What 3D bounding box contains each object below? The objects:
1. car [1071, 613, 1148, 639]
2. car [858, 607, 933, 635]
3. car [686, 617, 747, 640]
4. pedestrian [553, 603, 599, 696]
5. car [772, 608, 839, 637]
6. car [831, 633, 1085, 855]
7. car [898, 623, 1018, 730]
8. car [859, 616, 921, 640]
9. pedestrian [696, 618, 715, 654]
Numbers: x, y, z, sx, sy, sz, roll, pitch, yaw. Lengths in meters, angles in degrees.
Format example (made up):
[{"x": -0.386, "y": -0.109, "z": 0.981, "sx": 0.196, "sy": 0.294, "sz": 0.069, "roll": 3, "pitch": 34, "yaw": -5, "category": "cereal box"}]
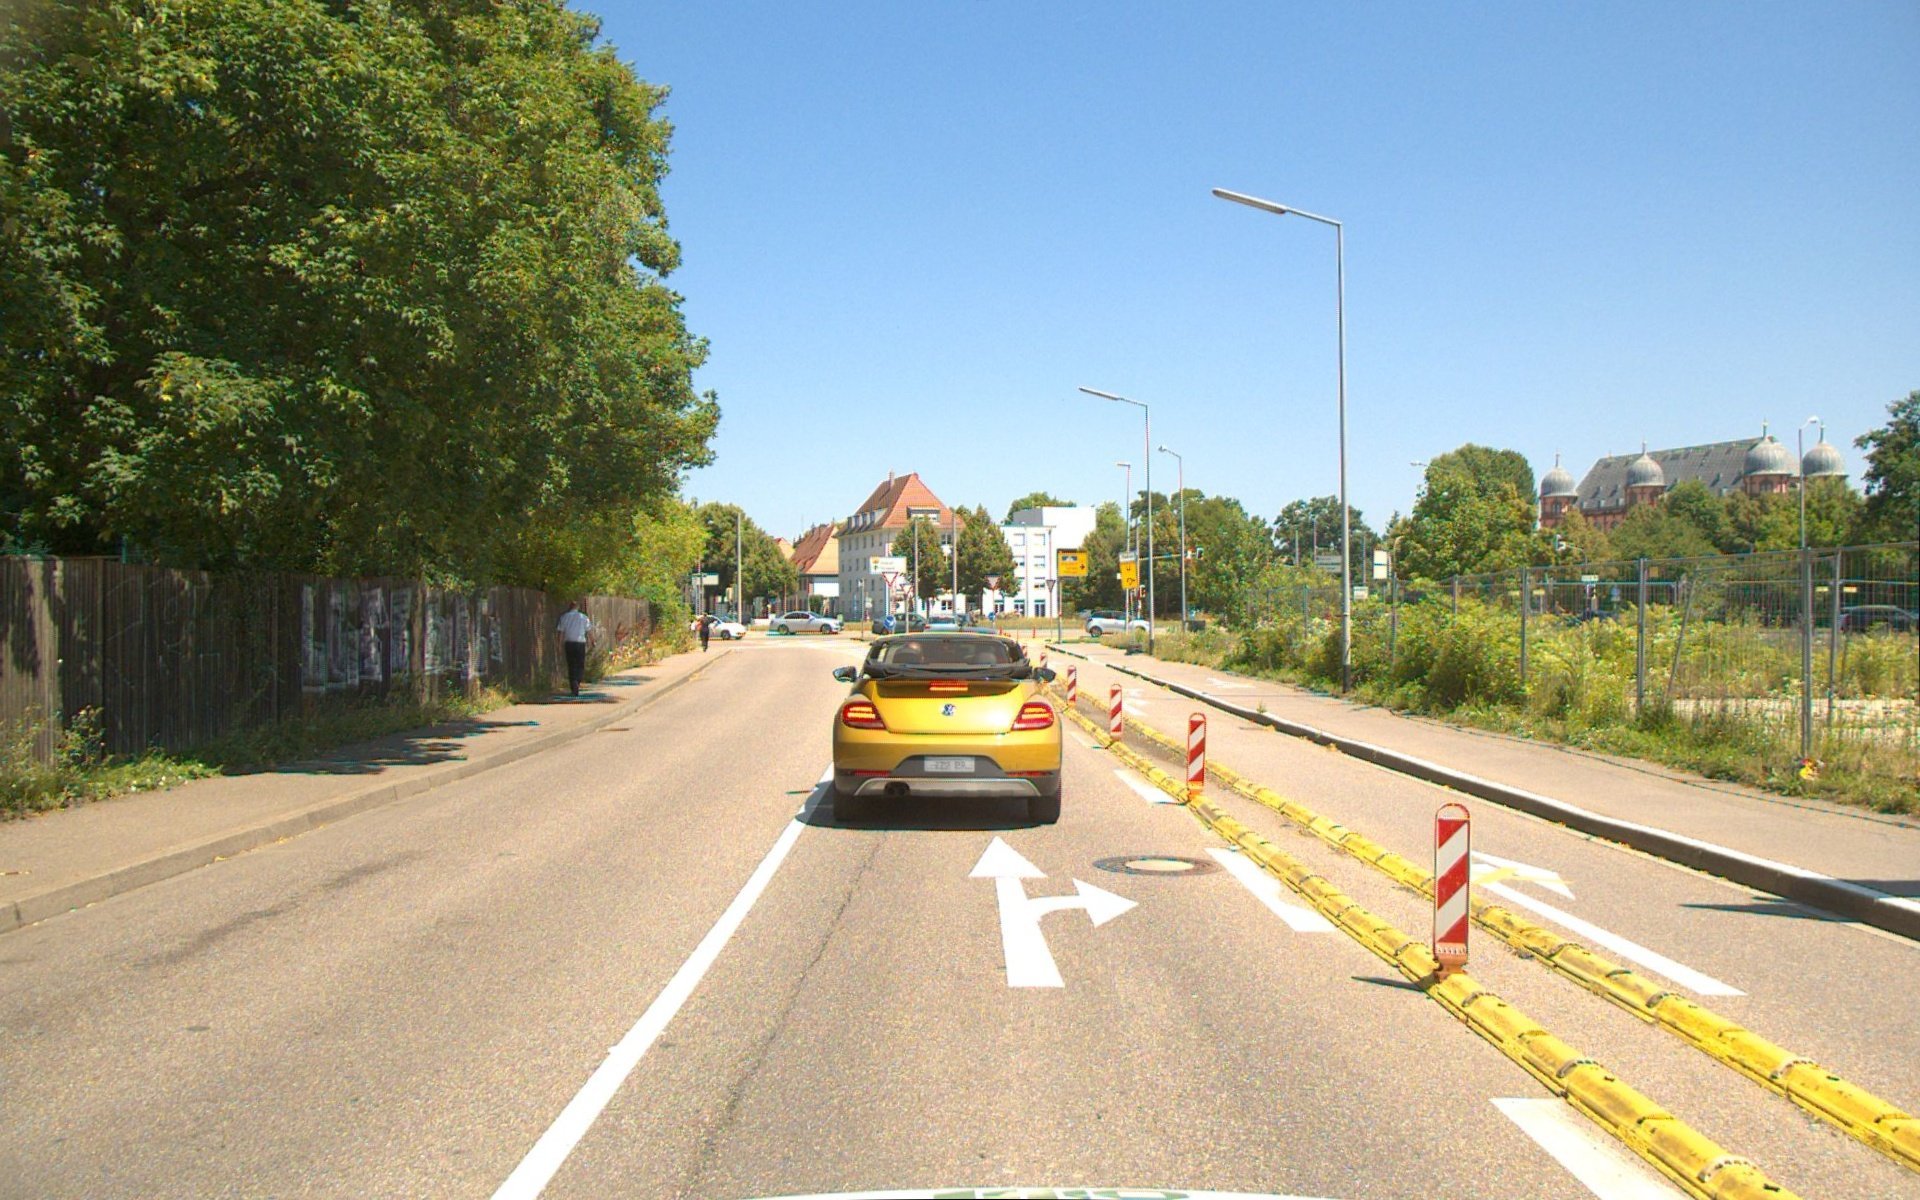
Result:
[{"x": 8.560, "y": 1.504, "z": 94.943, "sx": 4.346, "sy": 1.381, "sz": 1.538, "roll": -1, "pitch": 0, "yaw": 5, "category": "car"}, {"x": -3.622, "y": 1.158, "z": 92.737, "sx": 3.902, "sy": 1.481, "sz": 1.906, "roll": -1, "pitch": 0, "yaw": 7, "category": "car"}, {"x": -14.498, "y": 1.700, "z": 98.406, "sx": 3.364, "sy": 1.298, "sz": 1.203, "roll": -1, "pitch": 0, "yaw": 7, "category": "car"}, {"x": -7.358, "y": 0.940, "z": 31.718, "sx": 0.708, "sy": 1.755, "sz": 0.817, "roll": -1, "pitch": -1, "yaw": -5, "category": "pedestrian"}, {"x": -9.821, "y": 1.438, "z": 105.267, "sx": 3.986, "sy": 1.774, "sz": 1.568, "roll": -1, "pitch": 0, "yaw": 7, "category": "car"}, {"x": -0.086, "y": 1.043, "z": 13.479, "sx": 1.754, "sy": 1.462, "sz": 3.812, "roll": -1, "pitch": 0, "yaw": -2, "category": "car"}, {"x": -0.048, "y": 1.125, "z": 25.713, "sx": 1.691, "sy": 1.468, "sz": 3.999, "roll": -1, "pitch": 0, "yaw": -1, "category": "car"}, {"x": -4.028, "y": 1.621, "z": 95.527, "sx": 3.364, "sy": 1.298, "sz": 1.407, "roll": -1, "pitch": -1, "yaw": 7, "category": "car"}, {"x": -10.665, "y": 1.521, "z": 69.371, "sx": 0.708, "sy": 1.480, "sz": 0.817, "roll": -1, "pitch": -1, "yaw": -5, "category": "pedestrian"}]
